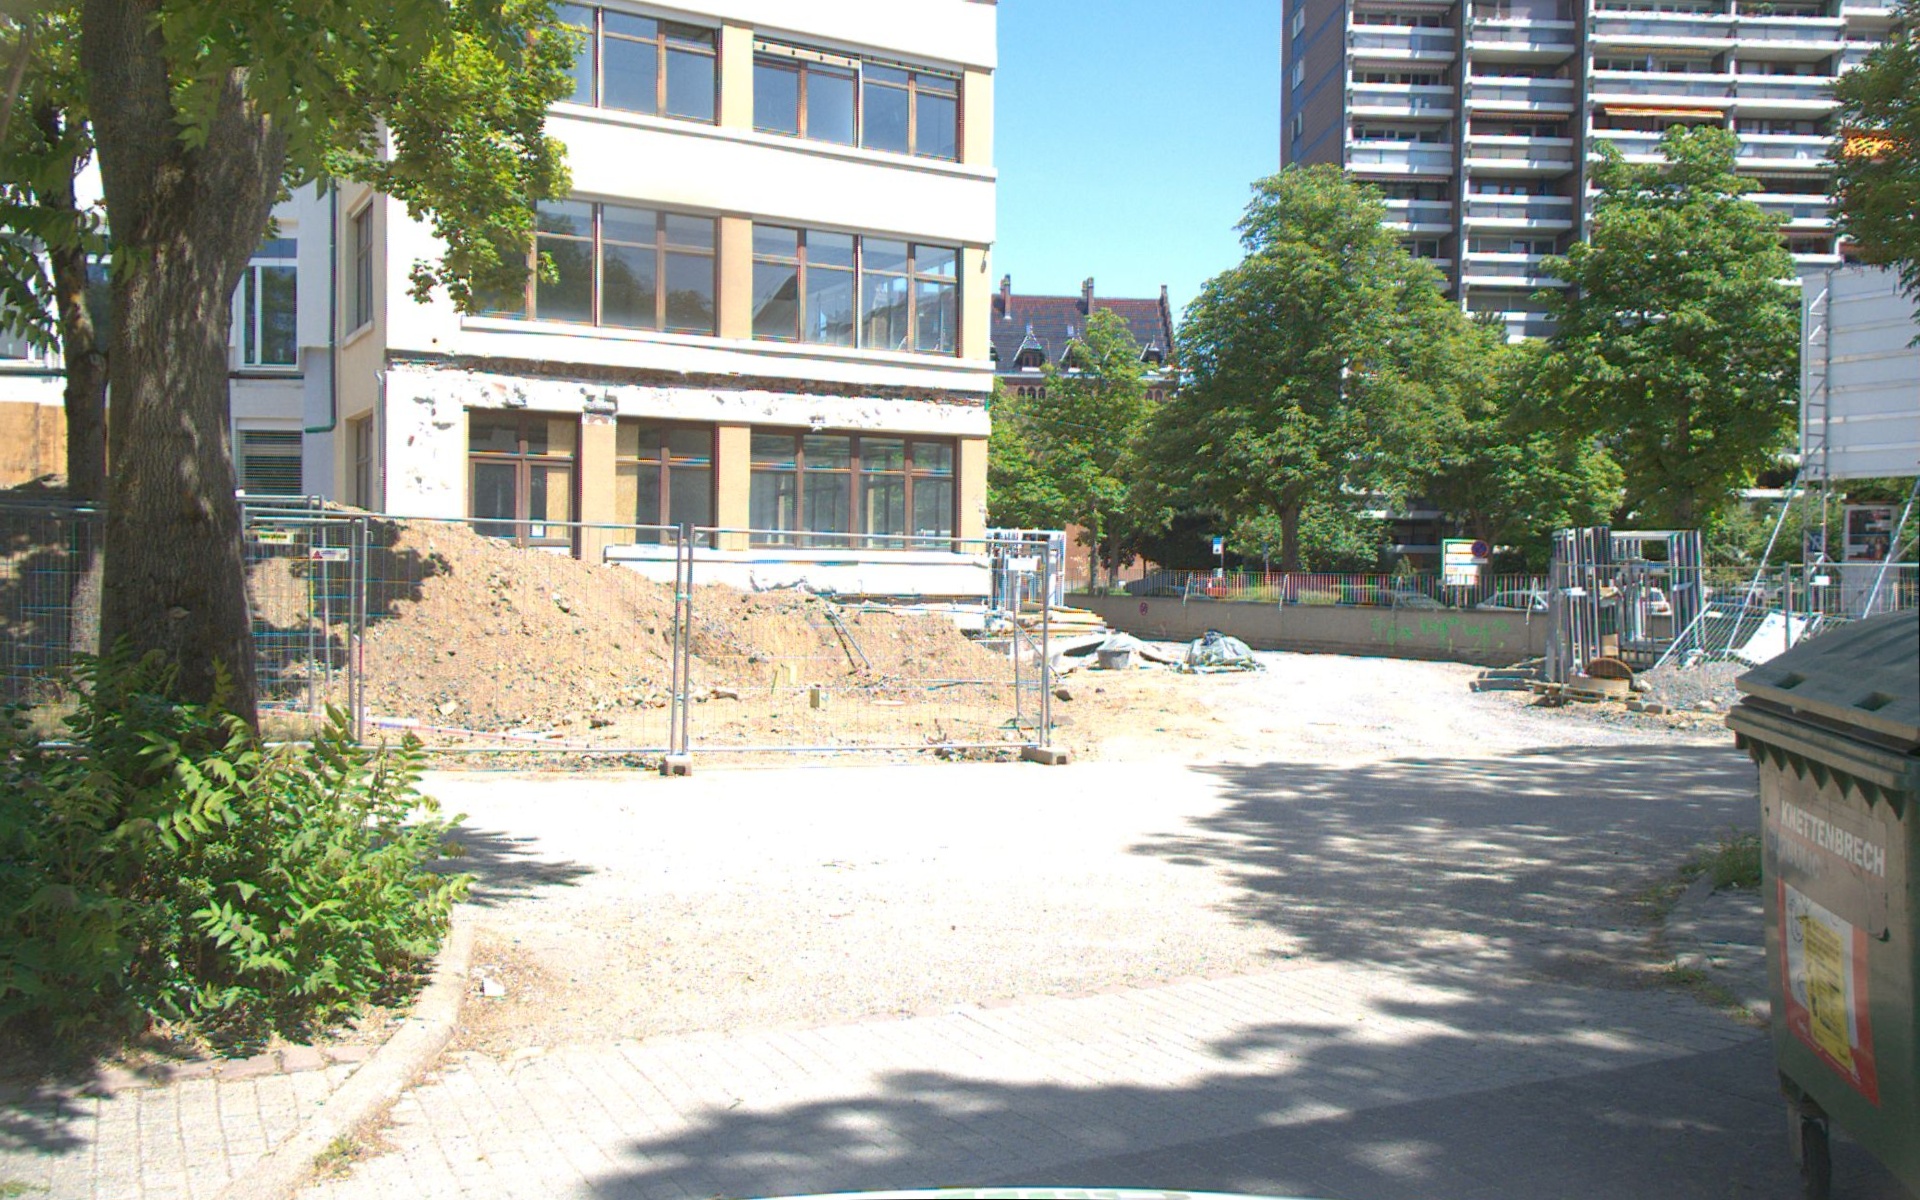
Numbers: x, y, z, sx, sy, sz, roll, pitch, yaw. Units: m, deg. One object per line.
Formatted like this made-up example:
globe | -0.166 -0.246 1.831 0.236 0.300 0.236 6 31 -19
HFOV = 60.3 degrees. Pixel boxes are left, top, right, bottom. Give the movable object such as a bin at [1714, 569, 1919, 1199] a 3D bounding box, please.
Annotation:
movable object such as a bin | 2.522 0.698 3.751 1.154 1.495 1.334 1 0 9

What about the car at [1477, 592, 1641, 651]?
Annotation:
car | 16.298 0.538 45.180 1.741 1.489 4.104 0 1 -29

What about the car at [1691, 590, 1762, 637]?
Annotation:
car | 24.296 0.406 52.516 1.599 1.411 3.680 1 0 18

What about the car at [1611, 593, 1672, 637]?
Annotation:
car | 22.865 0.487 55.576 1.599 1.411 3.680 1 0 18

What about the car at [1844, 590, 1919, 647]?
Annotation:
car | 25.689 0.491 45.376 1.598 1.489 3.681 1 0 12
